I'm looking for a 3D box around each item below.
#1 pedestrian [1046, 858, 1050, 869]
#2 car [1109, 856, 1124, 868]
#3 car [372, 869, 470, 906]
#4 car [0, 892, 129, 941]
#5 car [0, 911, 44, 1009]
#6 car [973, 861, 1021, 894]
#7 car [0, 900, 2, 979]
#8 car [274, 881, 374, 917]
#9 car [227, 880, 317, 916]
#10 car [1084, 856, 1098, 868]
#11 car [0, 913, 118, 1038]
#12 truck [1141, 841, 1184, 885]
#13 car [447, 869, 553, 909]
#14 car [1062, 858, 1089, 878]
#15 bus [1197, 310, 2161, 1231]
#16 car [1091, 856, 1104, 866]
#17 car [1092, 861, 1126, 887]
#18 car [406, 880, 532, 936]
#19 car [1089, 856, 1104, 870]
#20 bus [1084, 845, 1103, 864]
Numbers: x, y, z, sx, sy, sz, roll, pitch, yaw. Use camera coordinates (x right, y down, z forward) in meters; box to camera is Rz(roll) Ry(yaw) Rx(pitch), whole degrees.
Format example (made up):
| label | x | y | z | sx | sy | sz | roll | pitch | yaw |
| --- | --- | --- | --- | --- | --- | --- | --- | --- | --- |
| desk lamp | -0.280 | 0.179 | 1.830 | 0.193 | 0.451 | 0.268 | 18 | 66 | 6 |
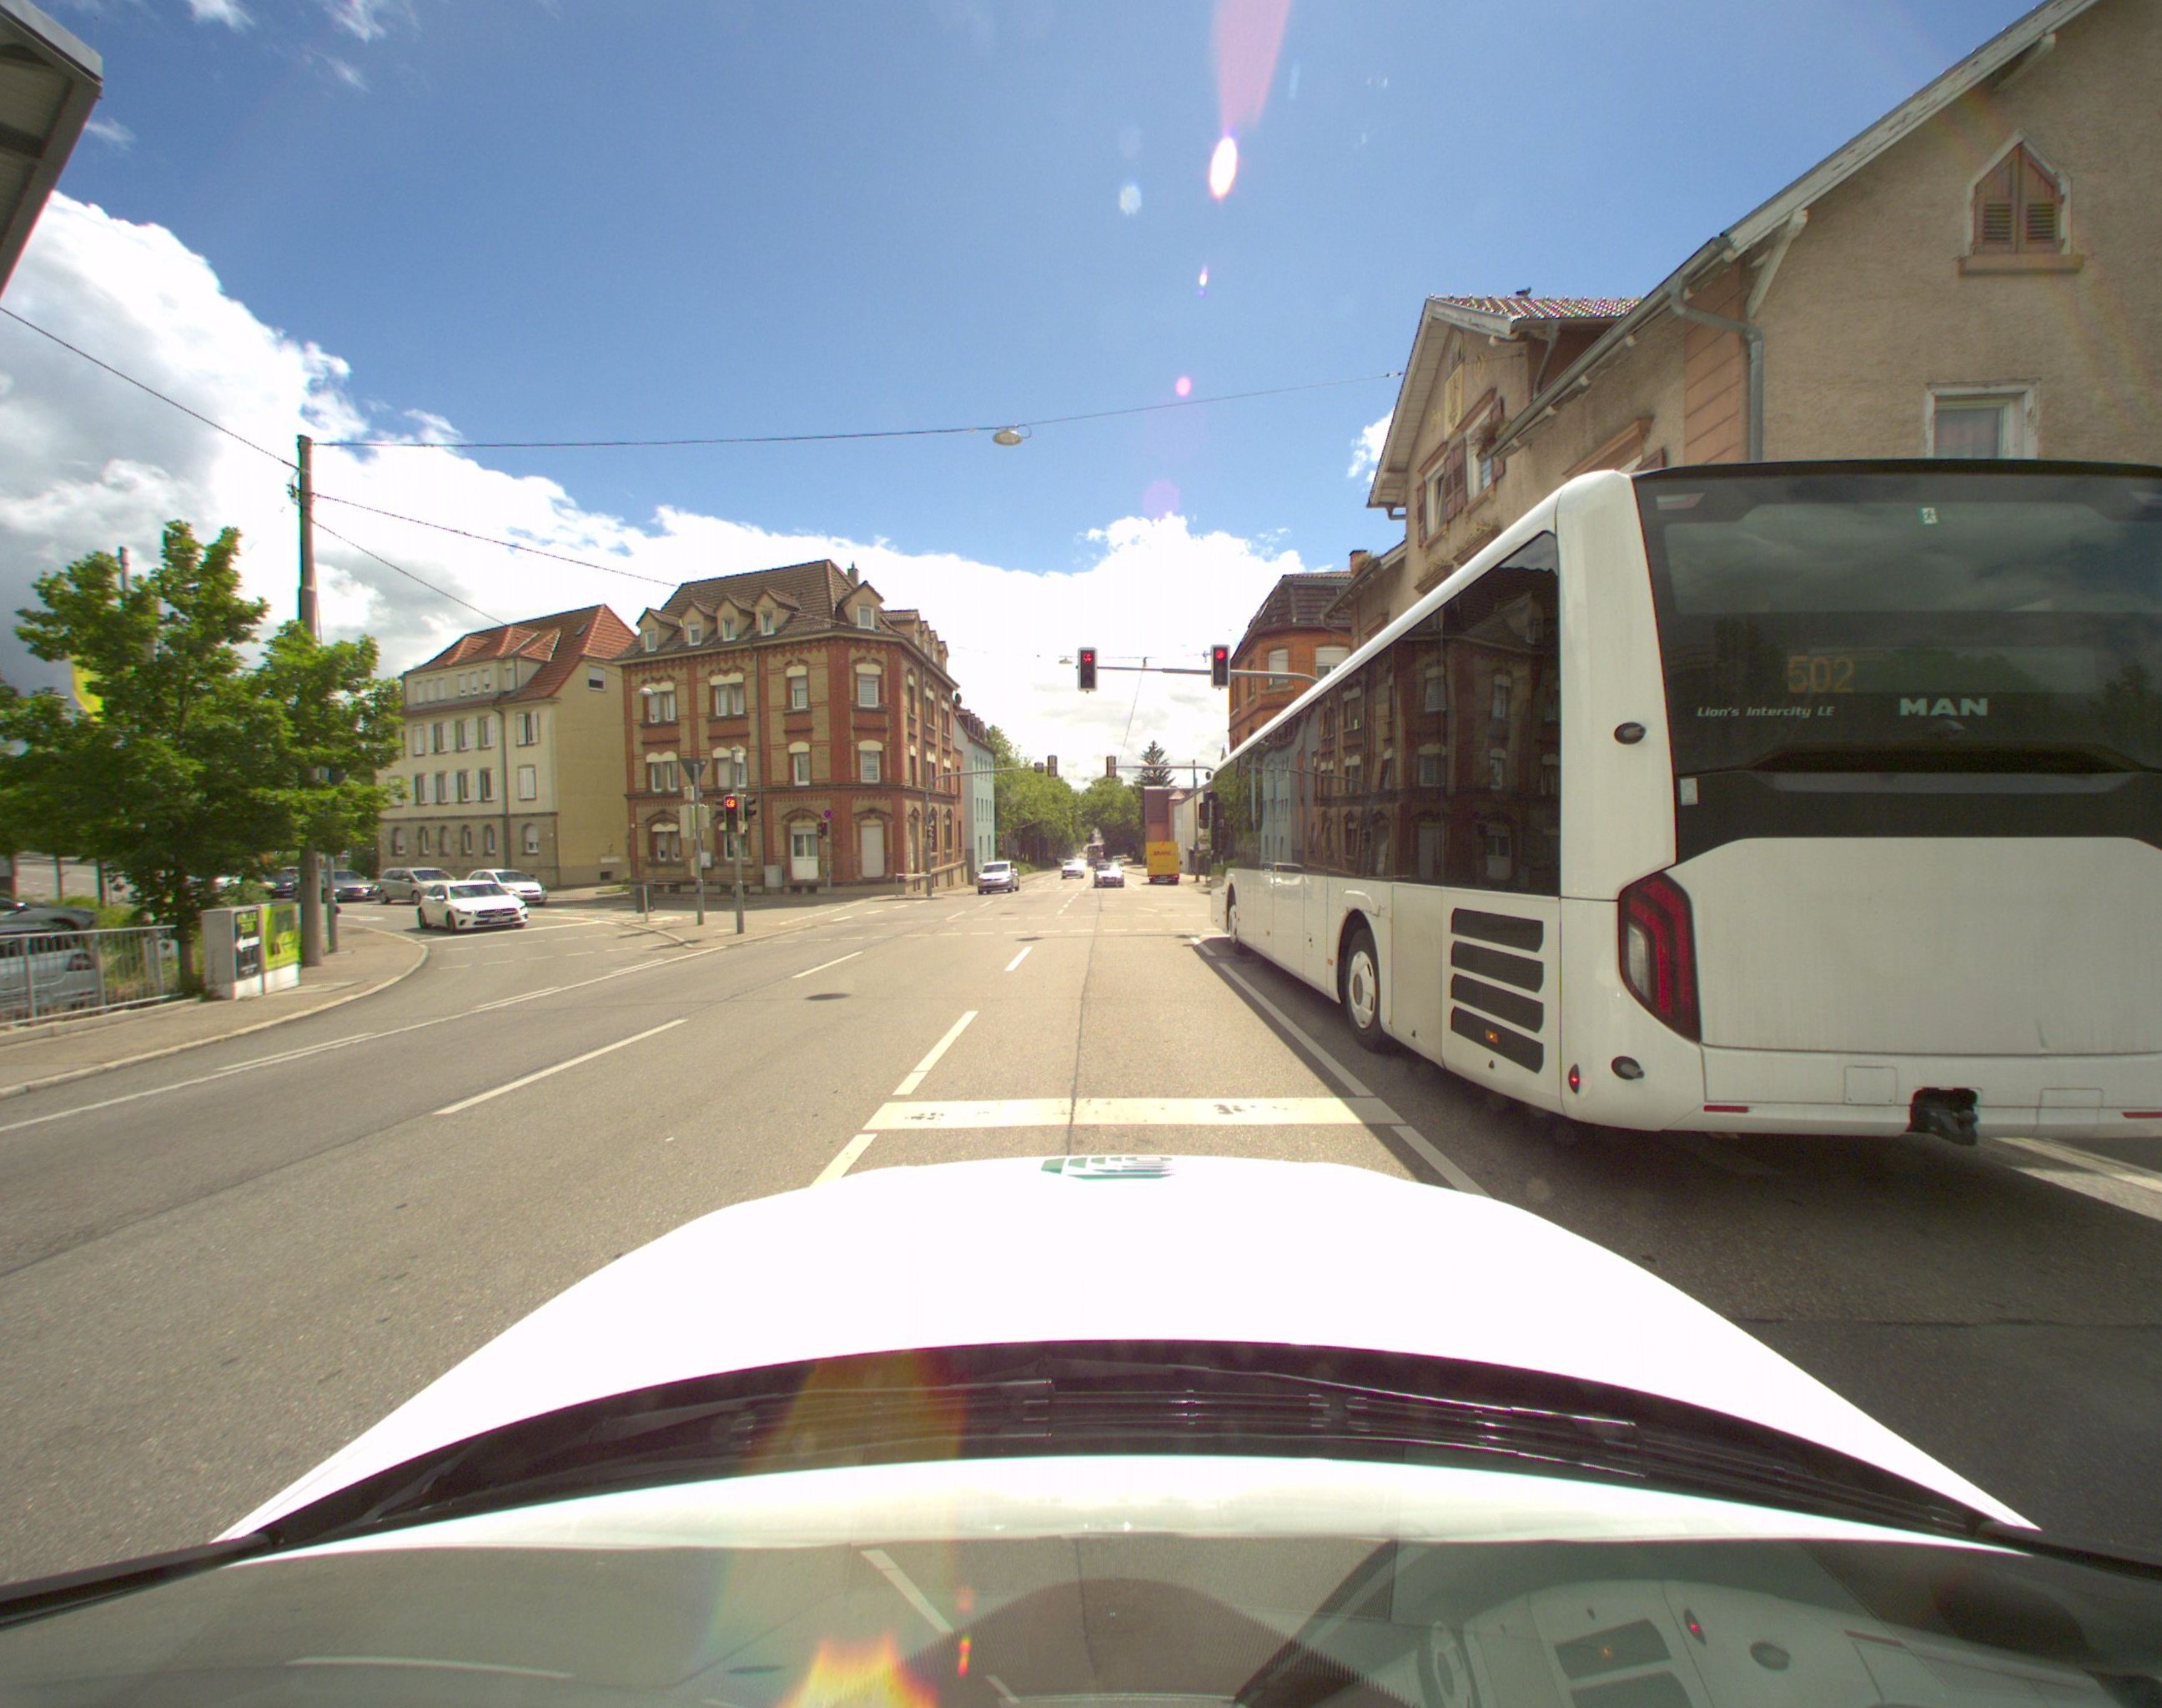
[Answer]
| label | x | y | z | sx | sy | sz | roll | pitch | yaw |
| --- | --- | --- | --- | --- | --- | --- | --- | --- | --- |
| pedestrian | -5.535 | 1.643 | 137.057 | 0.604 | 1.758 | 0.653 | -2 | 0 | 0 |
| car | 5.634 | 1.249 | 129.698 | 2.086 | 1.830 | 4.140 | -1 | 0 | -1 |
| car | -29.203 | 1.472 | 36.047 | 3.951 | 1.519 | 1.757 | -1 | 0 | 24 |
| car | -29.248 | 1.733 | 22.213 | 1.795 | 1.186 | 4.025 | -1 | 0 | 31 |
| car | -19.706 | 1.835 | 14.151 | 3.744 | 1.523 | 1.526 | -1 | 0 | 30 |
| car | -4.411 | 1.215 | 43.572 | 1.928 | 1.563 | 4.390 | -2 | 0 | 2 |
| car | -23.398 | 1.738 | 16.431 | 3.371 | 1.575 | 1.526 | -1 | 0 | 30 |
| car | -35.448 | 2.081 | 38.138 | 3.951 | 1.519 | 2.011 | -1 | 0 | 24 |
| car | -40.087 | 2.134 | 40.330 | 4.291 | 1.586 | 2.012 | -1 | 0 | 29 |
| car | 1.626 | 1.309 | 133.584 | 2.086 | 1.830 | 4.140 | -1 | 0 | -1 |
| car | -16.110 | 1.743 | 12.182 | 3.638 | 1.575 | 1.766 | -1 | -2 | 34 |
| truck | 5.825 | 0.611 | 57.411 | 2.525 | 2.913 | 6.591 | -1 | -1 | 10 |
| car | -23.595 | 1.395 | 33.061 | 3.951 | 1.497 | 1.711 | -1 | 0 | 24 |
| car | -0.484 | 1.254 | 74.210 | 2.199 | 1.613 | 4.549 | -2 | 0 | 2 |
| bus | 3.488 | -0.275 | 9.356 | 2.893 | 3.510 | 12.492 | 0 | -1 | 2 |
| car | 2.481 | 1.016 | 119.187 | 1.858 | 1.367 | 4.549 | -2 | 0 | 2 |
| car | 1.636 | 1.124 | 47.820 | 1.858 | 1.367 | 4.549 | -2 | 0 | 2 |
| car | -18.240 | 1.544 | 24.215 | 4.334 | 1.447 | 1.875 | -2 | 0 | 37 |
| car | 2.026 | 1.138 | 106.475 | 1.812 | 1.784 | 4.002 | -2 | 0 | 2 |
| bus | 2.325 | 0.114 | 160.008 | 3.291 | 3.631 | 11.238 | -2 | 0 | -1 |
